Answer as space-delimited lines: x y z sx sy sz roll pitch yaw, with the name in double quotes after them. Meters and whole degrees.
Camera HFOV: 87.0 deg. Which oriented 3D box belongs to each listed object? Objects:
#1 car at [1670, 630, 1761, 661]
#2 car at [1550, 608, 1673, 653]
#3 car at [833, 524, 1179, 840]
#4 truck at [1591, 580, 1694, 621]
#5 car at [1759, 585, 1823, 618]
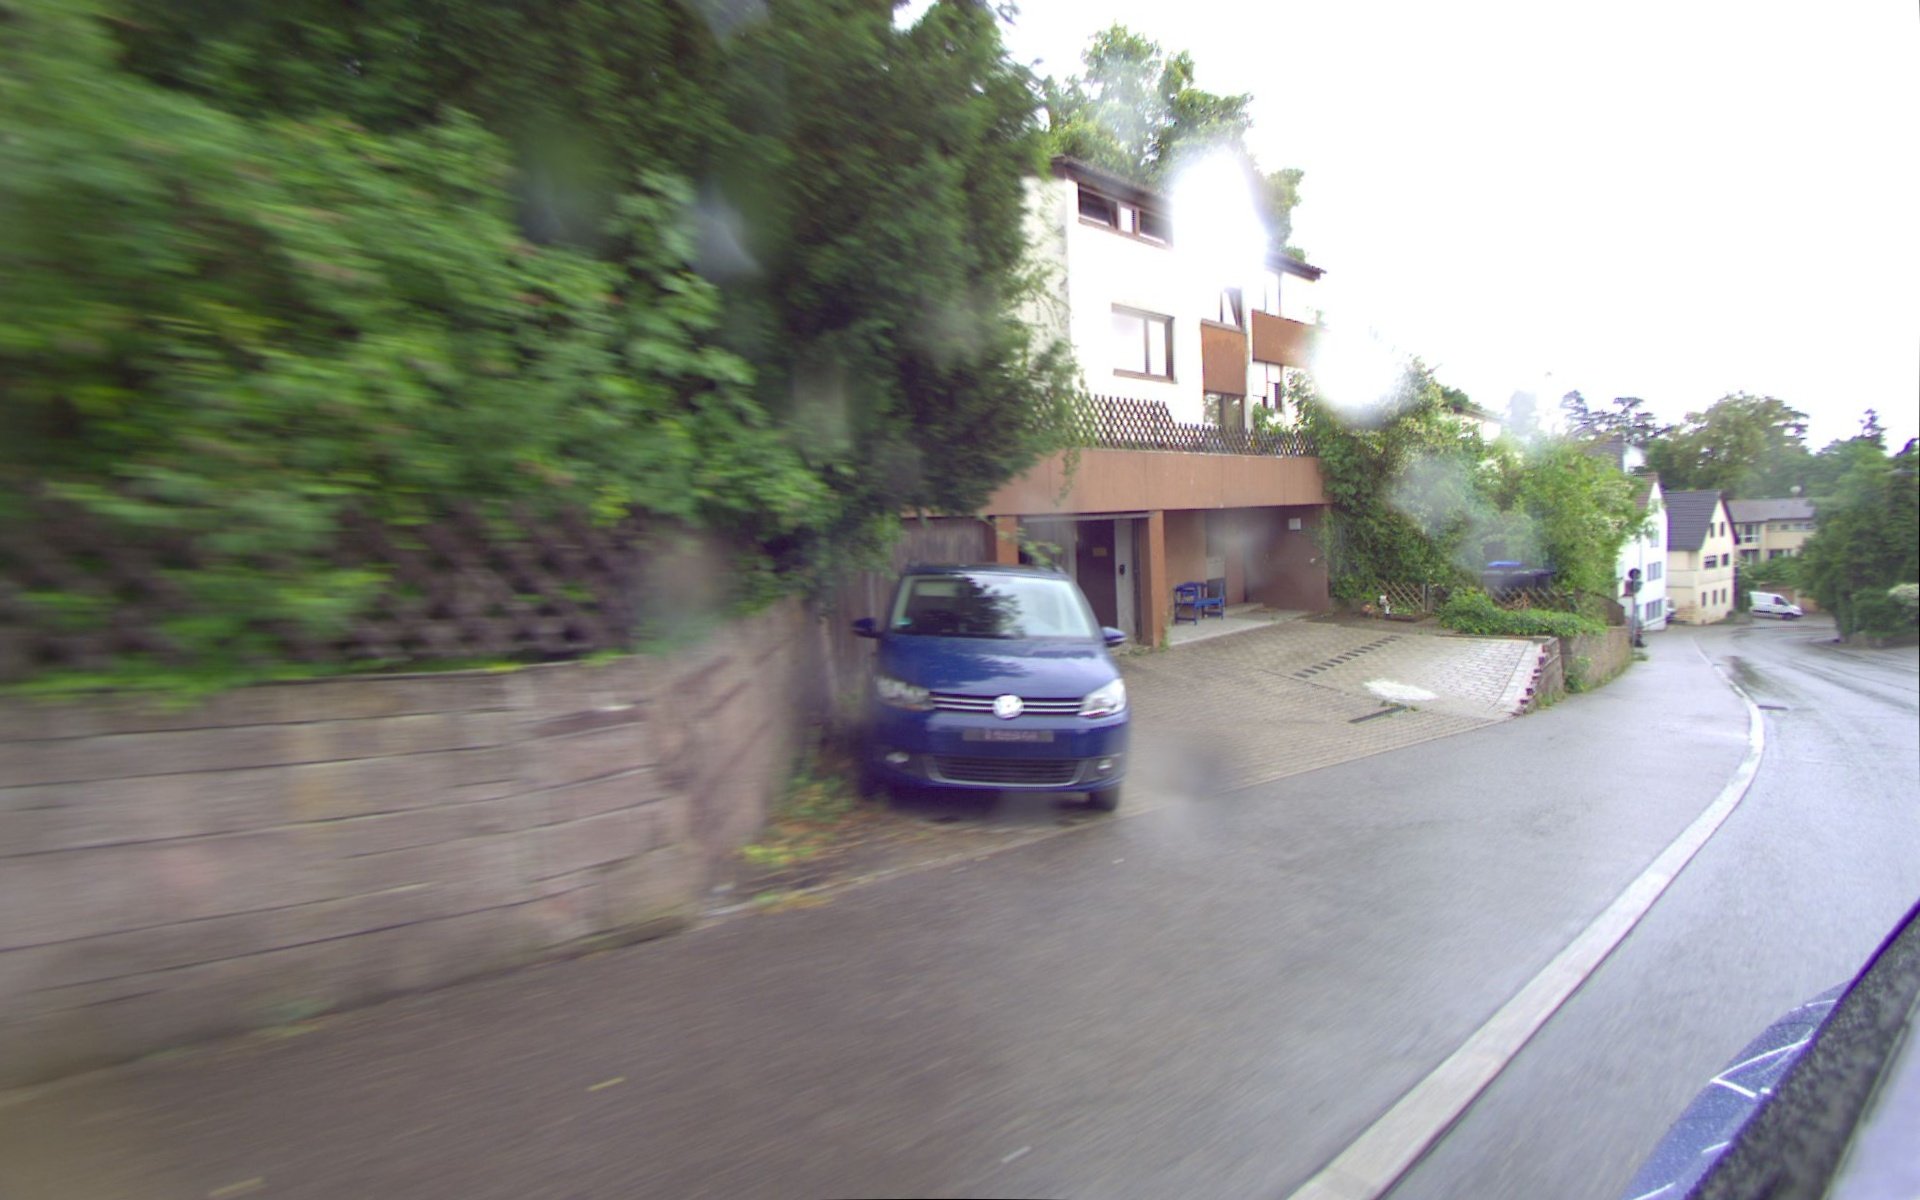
40.396 2.417 54.152 3.981 1.599 1.791 0 -1 -16 "car"
30.172 1.384 46.912 4.695 1.843 1.974 2 0 36 "car"
0.156 0.384 7.870 1.820 1.626 4.344 5 2 -3 "car"
59.118 -0.008 87.824 2.102 2.734 6.980 1 6 -39 "truck"
78.837 0.124 96.089 4.263 2.784 1.981 3 5 29 "car"
